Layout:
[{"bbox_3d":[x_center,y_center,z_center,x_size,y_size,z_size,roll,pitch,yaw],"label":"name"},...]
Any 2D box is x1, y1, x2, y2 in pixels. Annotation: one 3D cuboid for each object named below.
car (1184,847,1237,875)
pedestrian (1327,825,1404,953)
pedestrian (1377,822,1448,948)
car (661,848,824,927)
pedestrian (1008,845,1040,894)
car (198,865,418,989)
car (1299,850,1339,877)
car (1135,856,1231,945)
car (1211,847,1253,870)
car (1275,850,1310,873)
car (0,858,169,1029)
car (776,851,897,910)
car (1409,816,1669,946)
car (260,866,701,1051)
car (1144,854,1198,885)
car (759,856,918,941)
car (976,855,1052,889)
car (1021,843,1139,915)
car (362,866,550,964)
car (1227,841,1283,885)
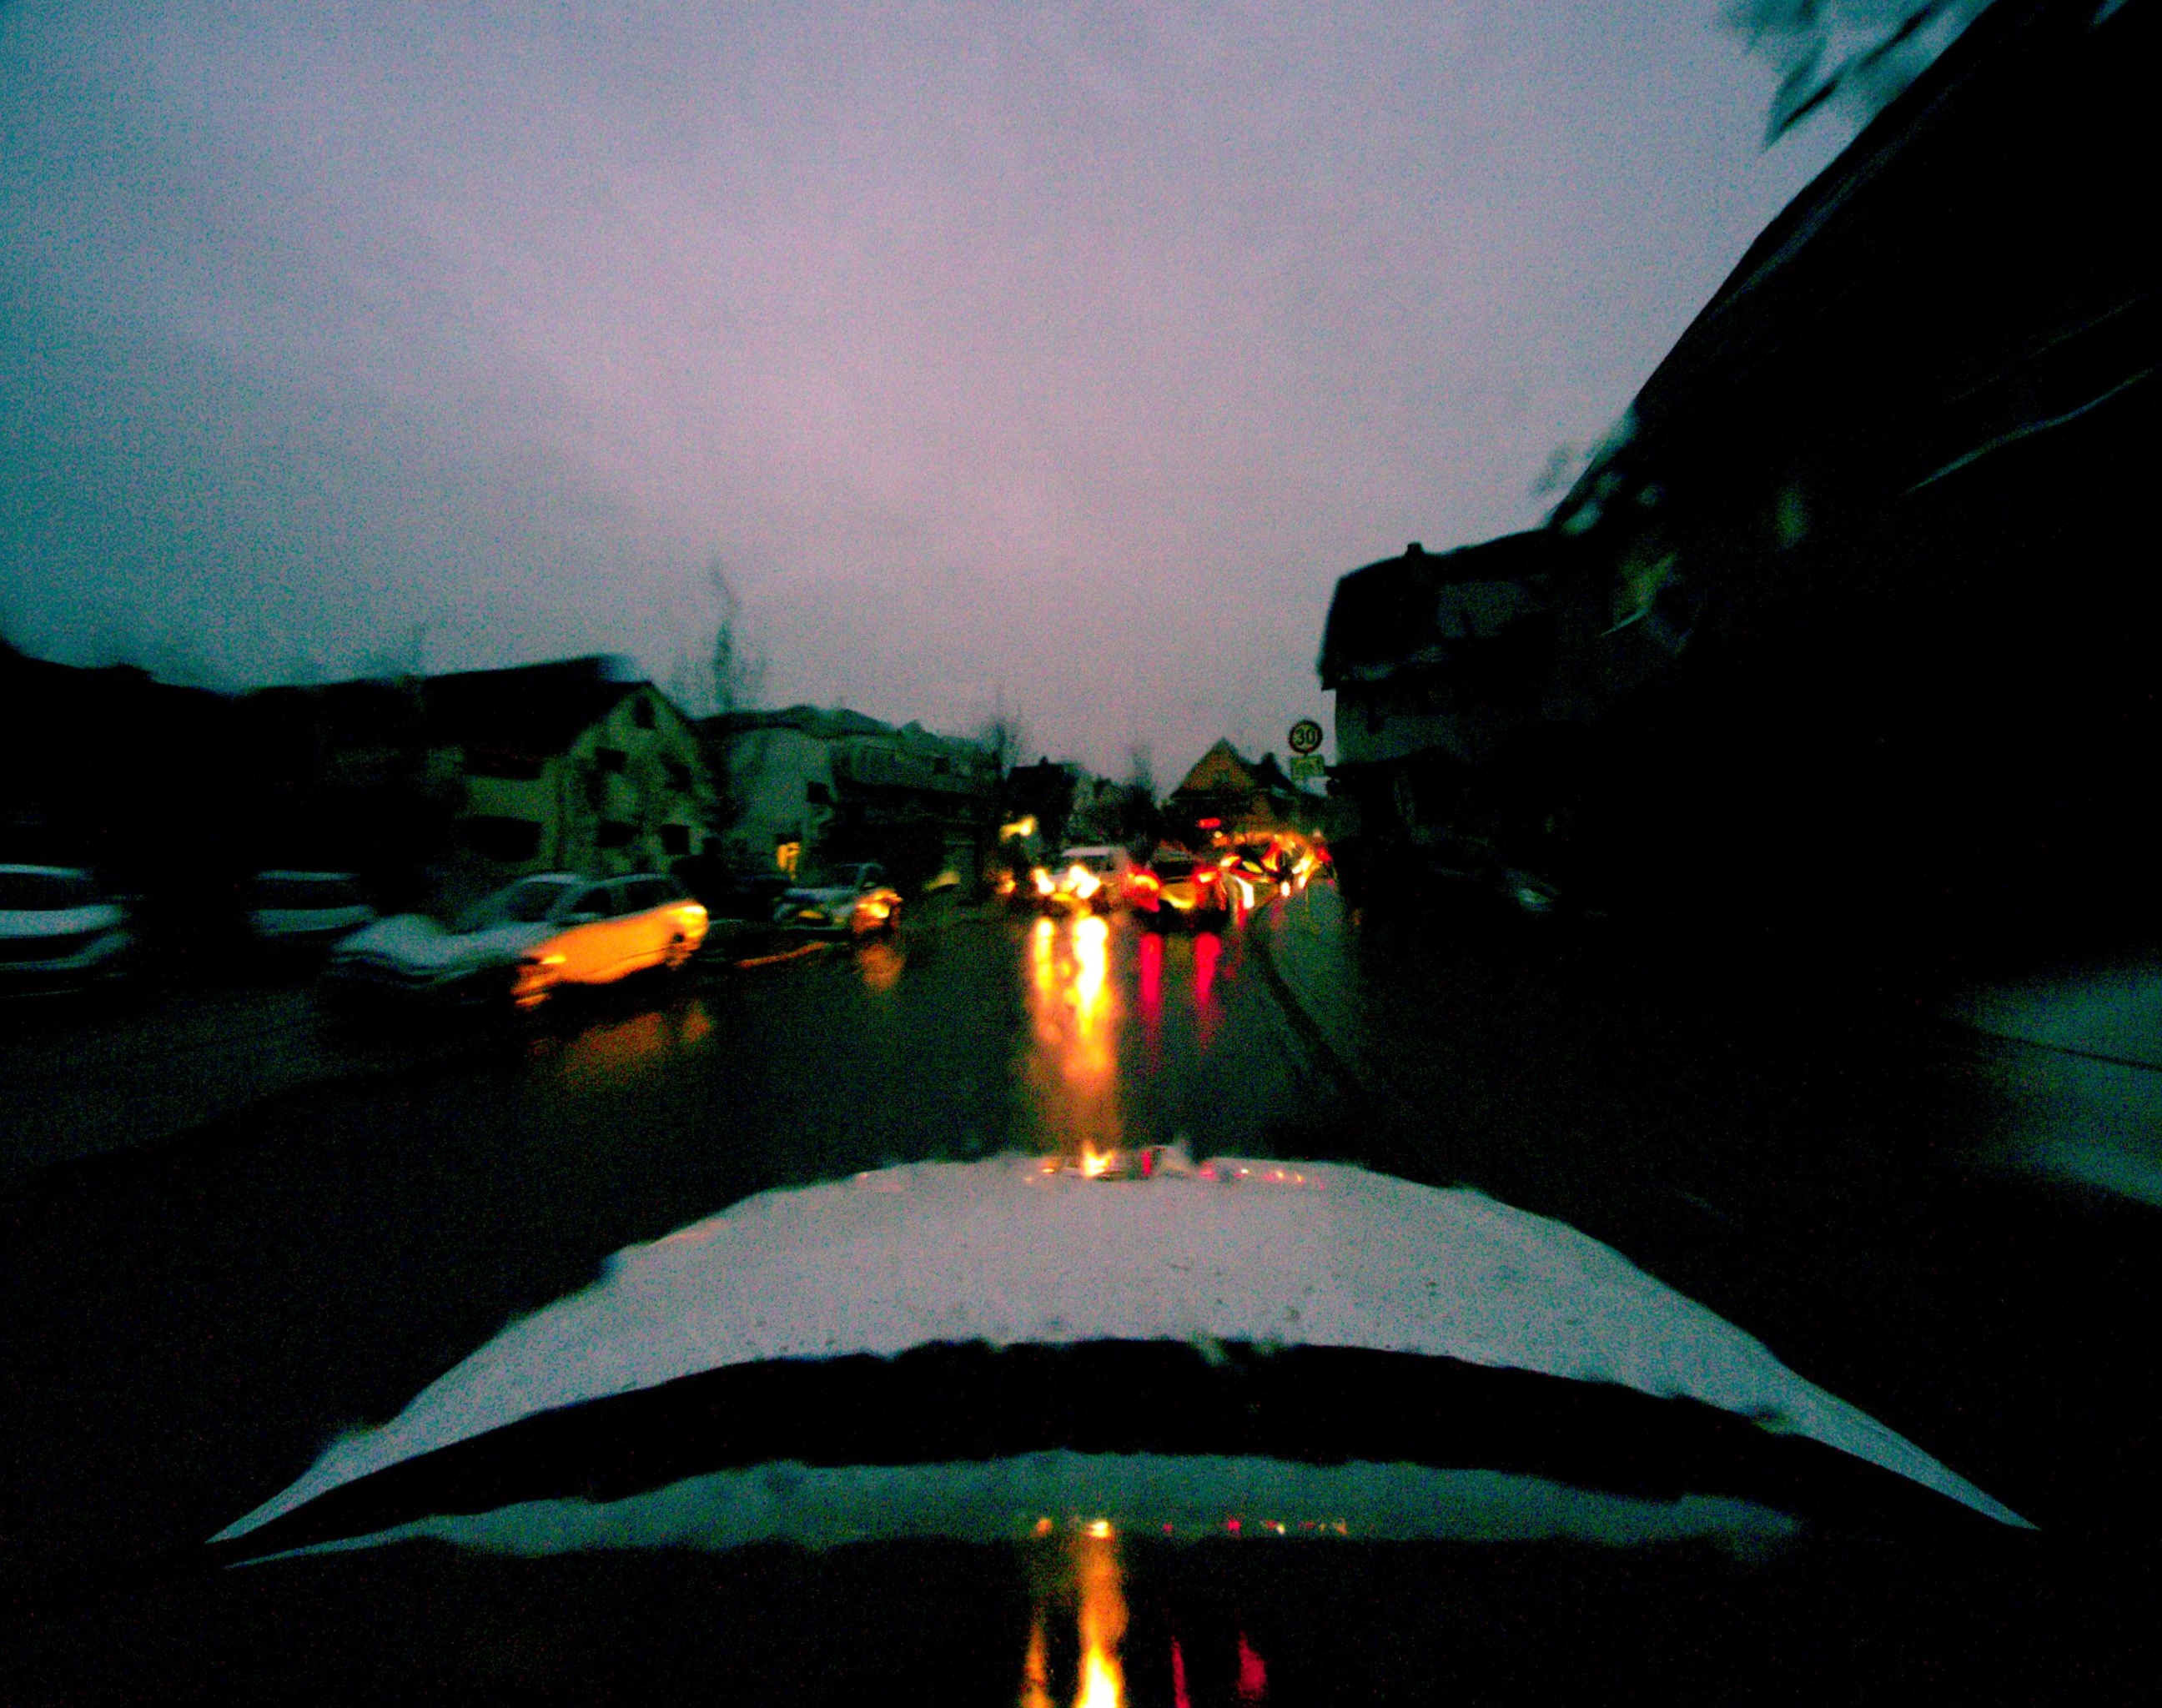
[{"bbox_3d":[7.711,0.385,48.241,1.732,1.516,4.369,0,1,29],"label":"car"},{"bbox_3d":[3.976,0.475,11.425,0.710,1.699,0.804,-3,0,0],"label":"pedestrian"},{"bbox_3d":[4.627,0.416,11.414,0.577,1.669,0.791,-3,0,-1],"label":"pedestrian"},{"bbox_3d":[-9.563,0.947,22.757,5.329,1.885,2.087,-4,0,43],"label":"car"},{"bbox_3d":[-2.250,0.616,32.197,0.746,1.866,1.067,-3,0,28],"label":"pedestrian"},{"bbox_3d":[-12.093,1.080,12.669,4.060,1.582,1.732,-4,-1,36],"label":"car"},{"bbox_3d":[13.797,0.513,47.025,1.634,1.442,3.888,-3,-1,24],"label":"car"},{"bbox_3d":[2.590,1.016,19.897,1.981,1.795,4.661,-3,0,9],"label":"car"},{"bbox_3d":[10.405,0.297,55.902,1.654,1.516,4.024,0,1,28],"label":"car"},{"bbox_3d":[14.393,0.490,55.235,1.520,1.456,3.724,-3,-1,26],"label":"car"},{"bbox_3d":[-12.434,0.989,9.449,4.595,1.654,2.001,-3,-1,36],"label":"car"},{"bbox_3d":[-8.655,0.938,28.899,3.680,1.903,1.769,-3,0,20],"label":"car"},{"bbox_3d":[6.578,0.342,12.212,1.729,1.561,3.662,-3,0,-1],"label":"car"},{"bbox_3d":[-6.461,0.980,9.540,1.898,1.533,4.257,-2,0,1],"label":"car"},{"bbox_3d":[4.801,0.811,43.083,1.677,1.516,3.795,-1,0,25],"label":"car"},{"bbox_3d":[-4.954,0.851,17.194,1.823,1.535,3.684,-2,0,7],"label":"car"},{"bbox_3d":[-3.435,0.941,41.034,1.748,1.477,4.041,-3,-1,-39],"label":"car"},{"bbox_3d":[0.116,0.645,23.835,1.930,1.750,4.873,-4,-1,18],"label":"car"},{"bbox_3d":[-11.901,1.064,15.430,3.948,1.530,2.013,-2,0,40],"label":"car"},{"bbox_3d":[7.253,0.355,33.676,1.783,1.662,4.019,-1,0,18],"label":"car"}]
